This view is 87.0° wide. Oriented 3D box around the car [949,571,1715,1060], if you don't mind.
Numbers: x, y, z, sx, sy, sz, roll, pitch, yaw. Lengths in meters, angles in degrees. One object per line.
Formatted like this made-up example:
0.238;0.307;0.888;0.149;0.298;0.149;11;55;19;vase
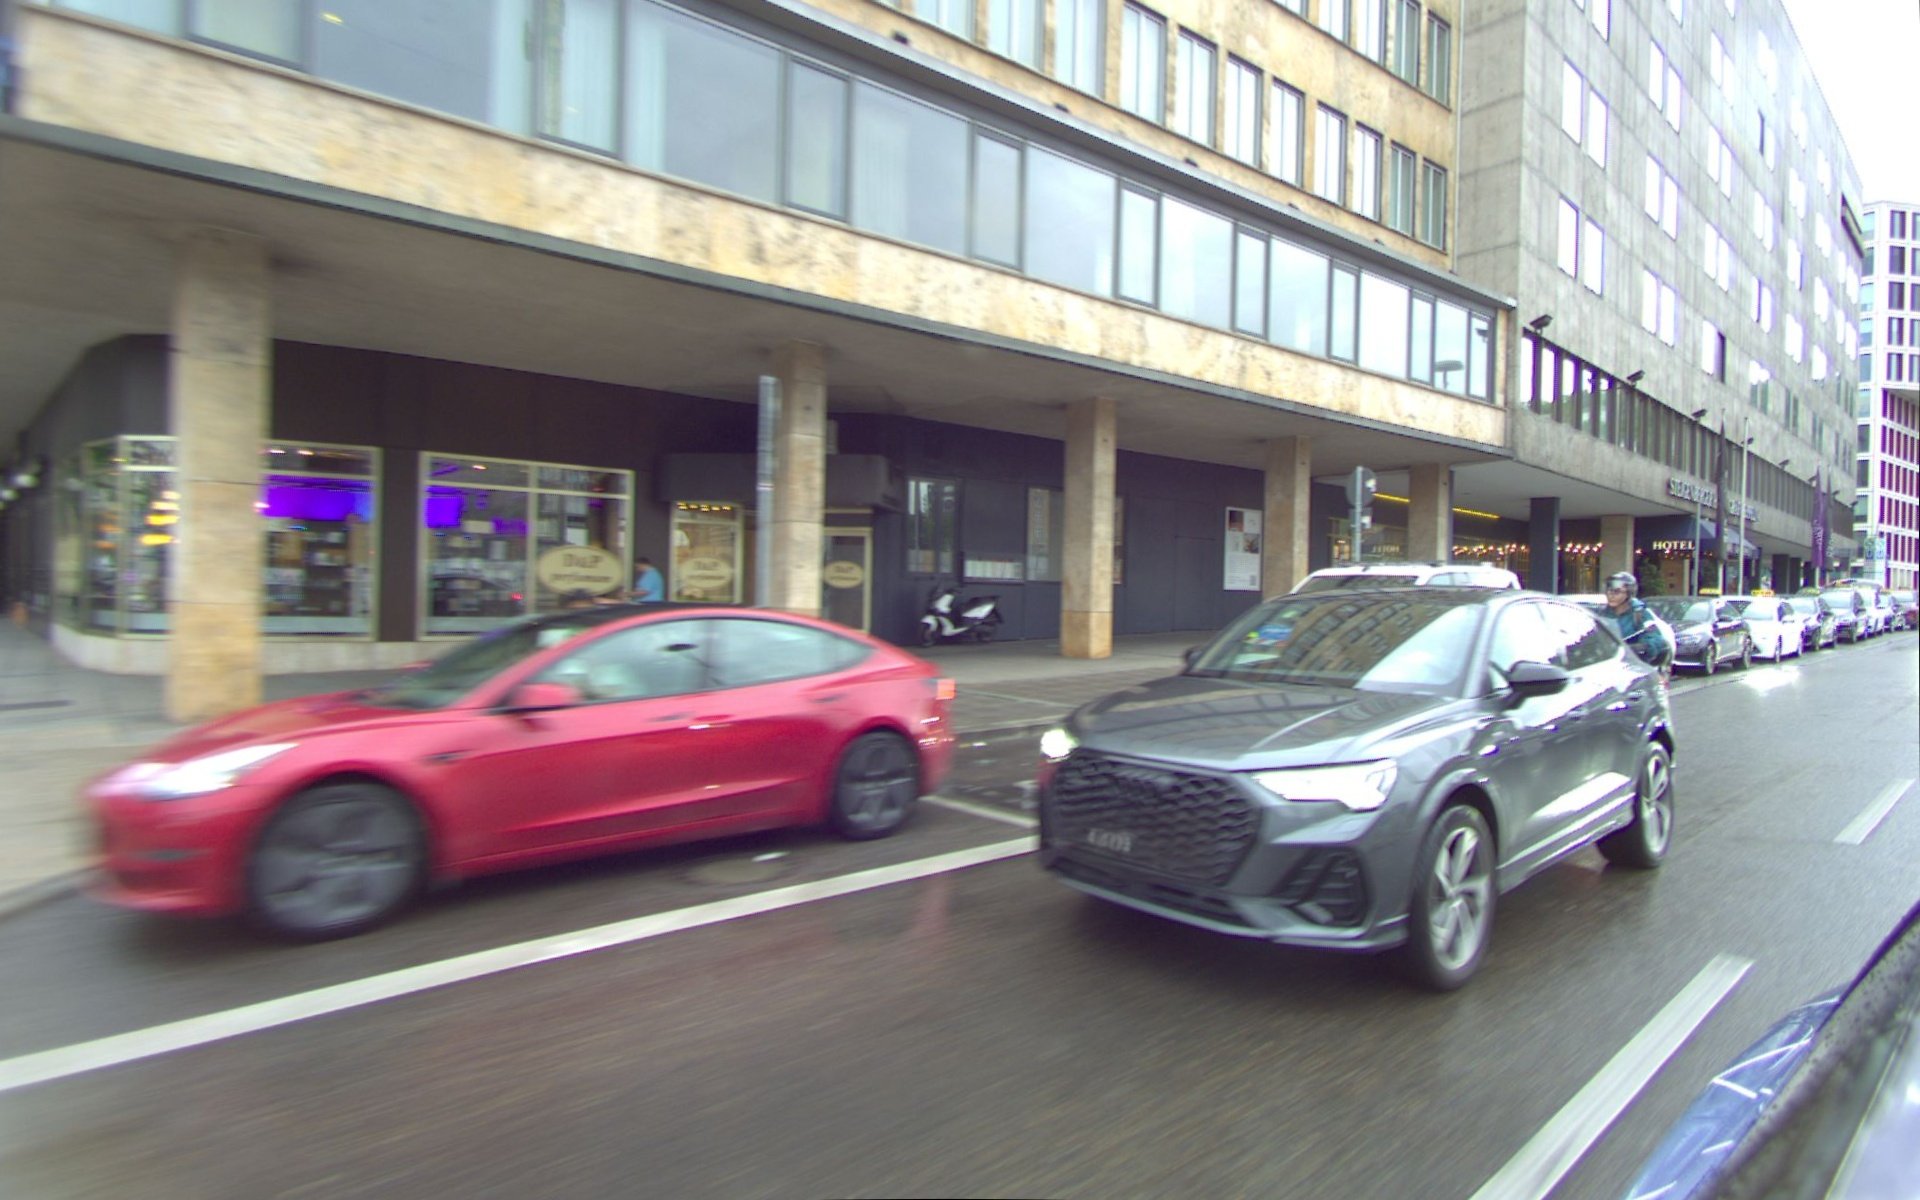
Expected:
2.184;0.636;5.263;4.266;1.520;1.882;-1;0;-40;car

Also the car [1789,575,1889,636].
27.521;0.116;31.644;4.731;1.764;1.729;-1;0;-41;car

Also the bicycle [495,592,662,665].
-6.074;0.425;16.245;2.429;1.059;0.657;-1;0;-41;bicycle

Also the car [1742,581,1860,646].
22.994;0.305;27.606;4.731;1.612;1.729;-1;0;-41;car

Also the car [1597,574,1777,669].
14.505;0.349;20.084;4.731;1.658;1.877;-1;0;-41;car

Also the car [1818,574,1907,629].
31.311;0.021;35.069;4.731;1.764;1.729;-1;0;-41;car

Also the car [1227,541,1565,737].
5.477;0.346;12.371;4.850;1.944;1.877;-1;0;-41;car

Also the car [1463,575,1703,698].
10.028;0.461;16.121;4.924;1.658;1.877;-1;0;-41;car

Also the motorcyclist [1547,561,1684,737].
6.140;0.424;9.481;0.829;1.547;0.860;-1;0;-40;motorcyclist

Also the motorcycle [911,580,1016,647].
0.090;0.239;19.779;2.064;1.233;0.569;-1;0;-33;motorcycle

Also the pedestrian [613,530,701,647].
-4.887;-0.187;16.339;1.117;1.812;0.799;-1;0;-42;pedestrian

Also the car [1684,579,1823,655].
18.729;0.333;23.803;4.731;1.612;1.729;-1;0;-41;car

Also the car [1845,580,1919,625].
35.327;0.073;38.697;3.932;1.634;1.729;-1;0;-41;car

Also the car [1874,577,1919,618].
39.295;-0.124;41.888;3.932;1.634;1.729;-1;0;-41;car

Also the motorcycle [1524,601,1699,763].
6.102;0.693;9.442;1.931;1.323;0.848;-1;0;-41;motorcycle

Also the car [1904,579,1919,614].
46.847;-0.179;48.658;3.932;1.634;1.729;-1;0;-41;car

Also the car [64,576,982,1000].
-2.146;0.644;5.816;4.448;1.505;1.877;-1;0;-41;car
